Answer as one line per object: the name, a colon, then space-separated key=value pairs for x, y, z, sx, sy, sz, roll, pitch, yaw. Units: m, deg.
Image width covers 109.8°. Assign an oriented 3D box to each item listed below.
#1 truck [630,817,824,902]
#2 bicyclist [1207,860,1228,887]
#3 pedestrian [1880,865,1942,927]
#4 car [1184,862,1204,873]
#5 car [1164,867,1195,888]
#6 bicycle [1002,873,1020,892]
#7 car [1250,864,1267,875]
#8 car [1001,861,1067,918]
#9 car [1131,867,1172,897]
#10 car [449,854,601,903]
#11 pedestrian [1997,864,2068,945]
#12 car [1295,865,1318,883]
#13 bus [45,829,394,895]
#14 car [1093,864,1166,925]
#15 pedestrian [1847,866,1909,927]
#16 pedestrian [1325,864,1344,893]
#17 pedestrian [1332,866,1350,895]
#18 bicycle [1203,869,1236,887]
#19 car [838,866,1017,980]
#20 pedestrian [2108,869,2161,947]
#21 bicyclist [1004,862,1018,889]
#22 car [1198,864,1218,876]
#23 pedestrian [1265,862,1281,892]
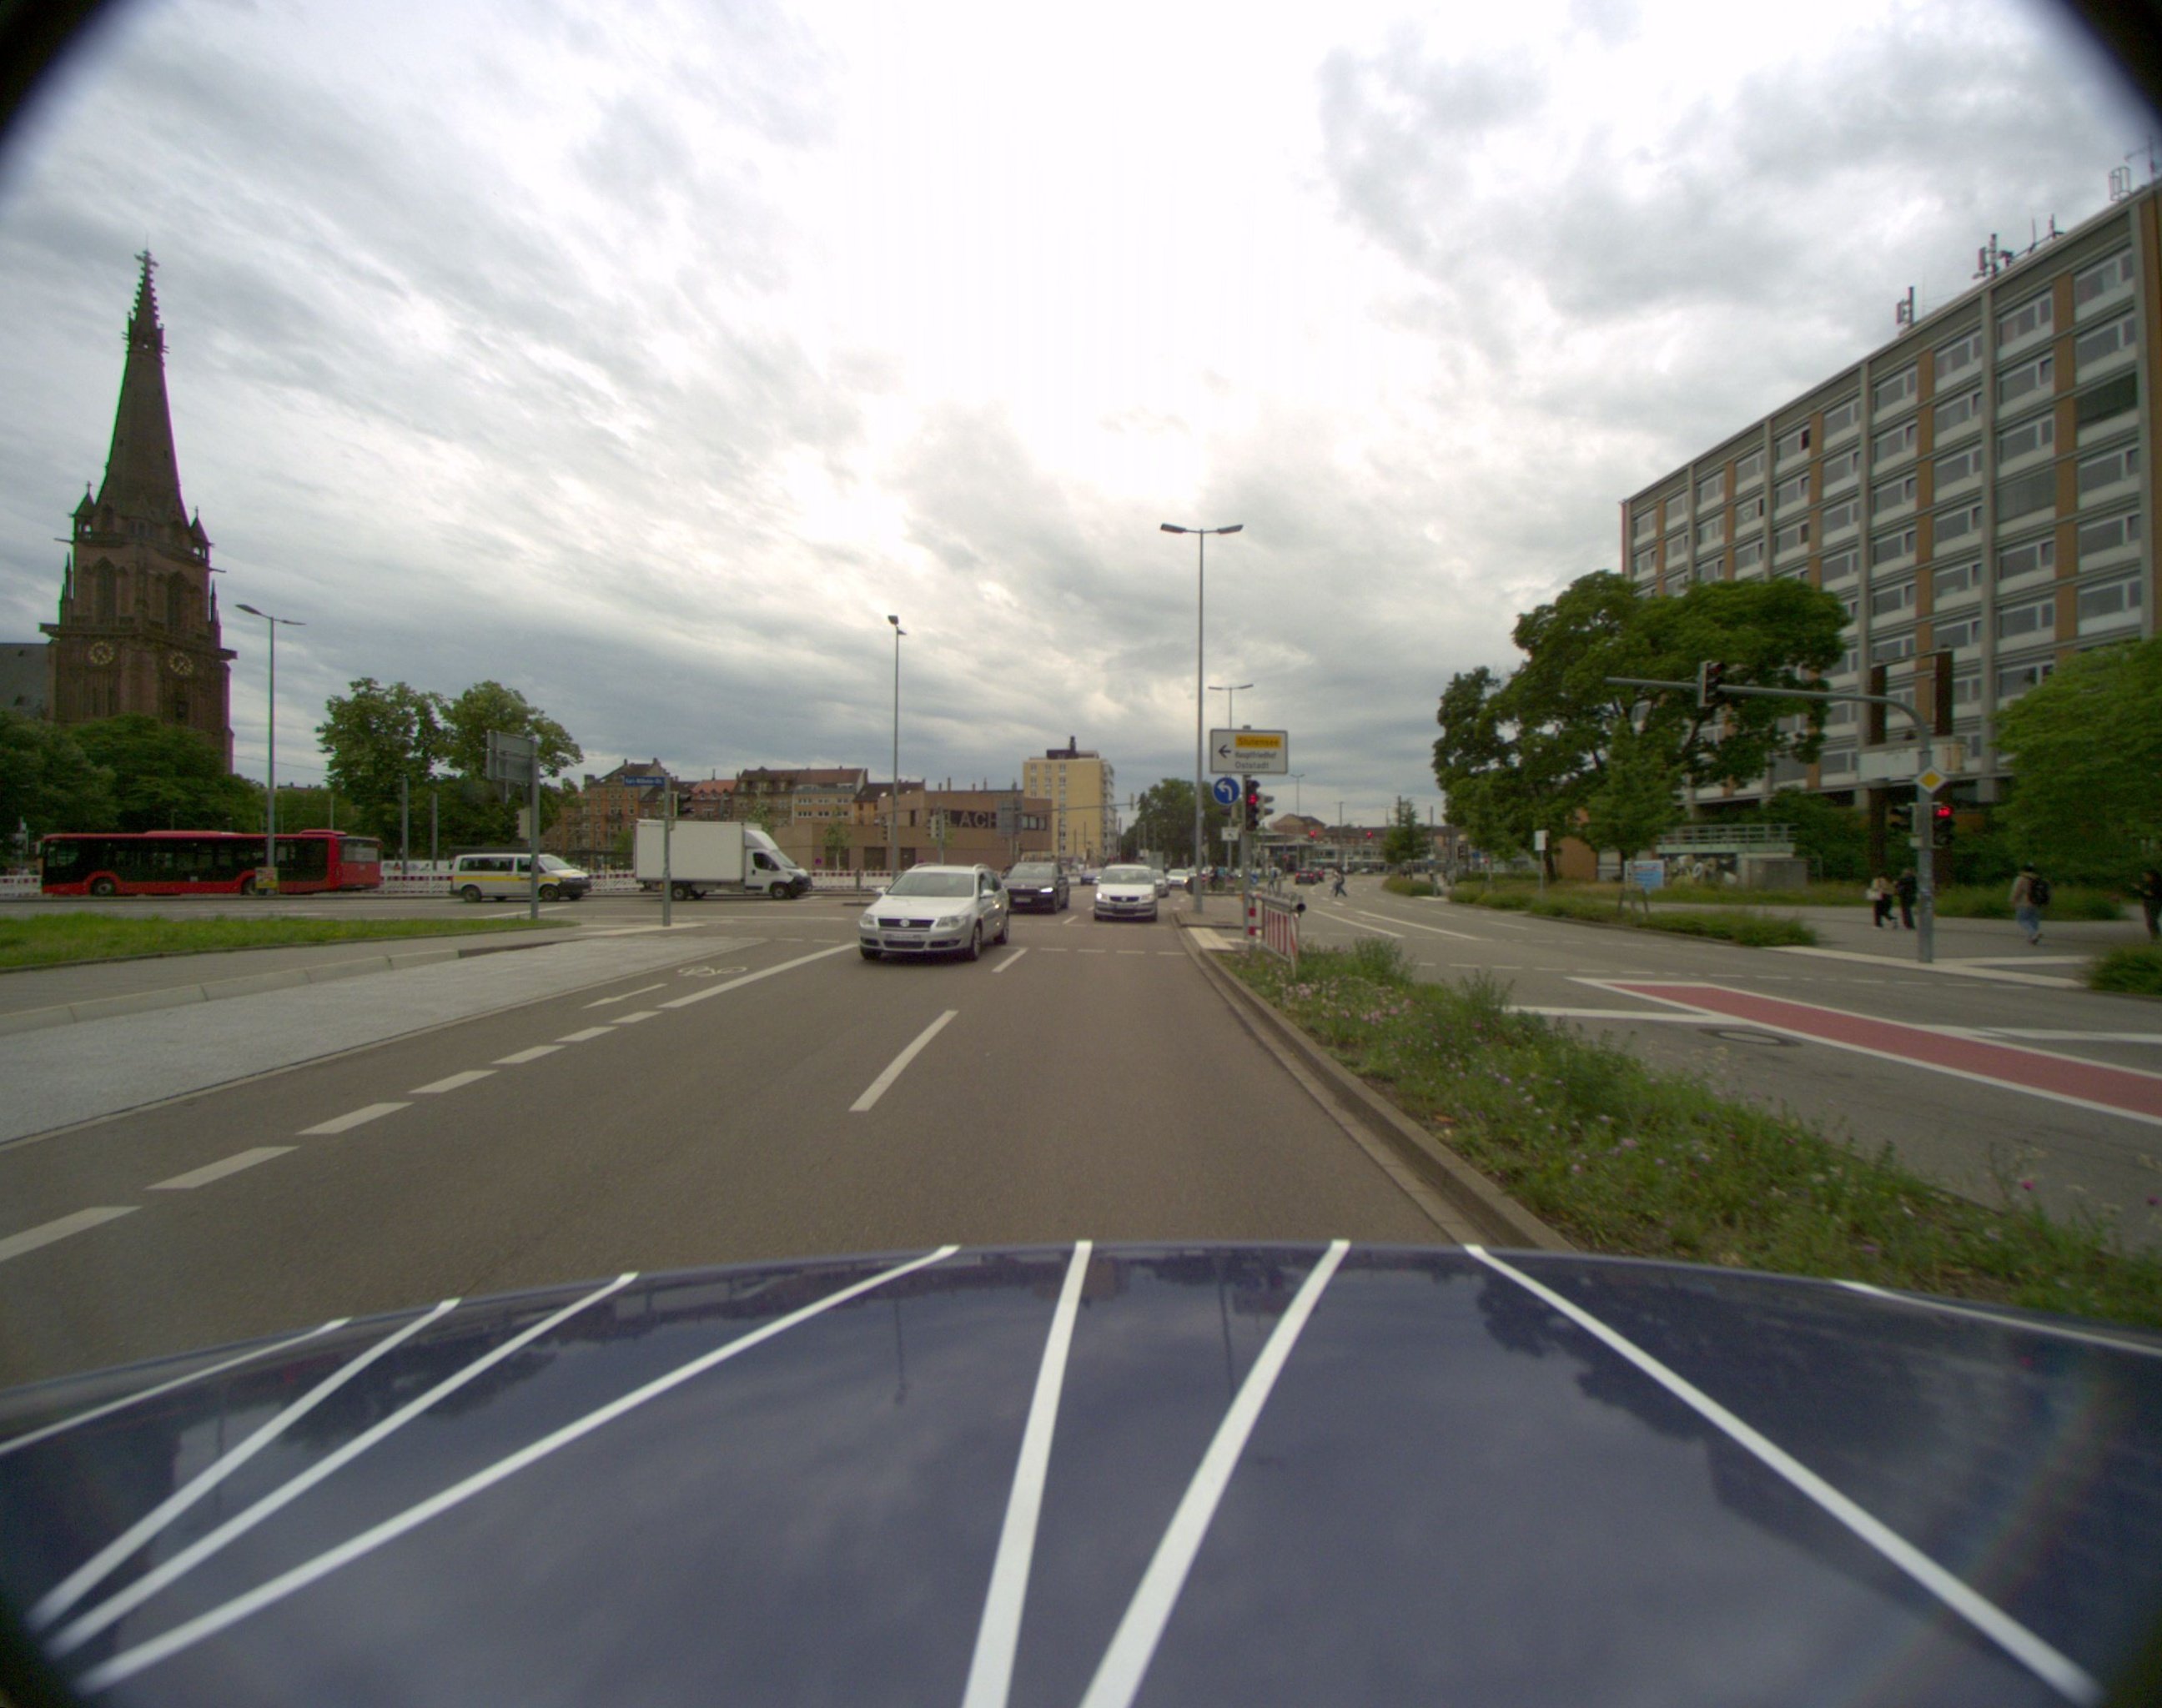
truck: x=-14.730 y=0.179 z=32.049 sx=6.853 sy=3.392 sz=2.559 roll=-1 pitch=2 yaw=-6
bicyclist: x=8.915 y=1.258 z=49.522 sx=1.191 sy=1.725 sz=0.807 roll=1 pitch=0 yaw=1
pedestrian: x=22.850 y=1.128 z=20.935 sx=0.708 sy=1.661 sz=0.890 roll=-1 pitch=0 yaw=3
car: x=17.131 y=2.080 z=115.311 sx=1.606 sy=1.586 sz=3.767 roll=1 pitch=-1 yaw=31
car: x=7.173 y=1.686 z=55.133 sx=1.784 sy=1.454 sz=3.875 roll=-1 pitch=0 yaw=14
bicycle: x=-4.326 y=1.772 z=46.957 sx=0.693 sy=1.123 sz=1.869 roll=2 pitch=-1 yaw=6
car: x=29.053 y=2.534 z=124.149 sx=1.606 sy=1.586 sz=3.767 roll=1 pitch=-1 yaw=31
car: x=-1.471 y=1.082 z=24.999 sx=1.912 sy=1.615 sz=4.490 roll=-1 pitch=0 yaw=-2
car: x=3.734 y=1.432 z=39.646 sx=1.725 sy=1.405 sz=4.249 roll=-1 pitch=-1 yaw=11
car: x=-22.798 y=0.967 z=31.300 sx=4.712 sy=1.908 sz=1.919 roll=0 pitch=1 yaw=-3
pedestrian: x=21.386 y=1.112 z=17.094 sx=0.638 sy=1.790 sz=0.762 roll=0 pitch=0 yaw=3
car: x=22.968 y=2.003 z=77.322 sx=1.812 sy=1.657 sz=3.955 roll=1 pitch=1 yaw=22
bus: x=-39.720 y=0.342 z=35.418 sx=12.092 sy=2.890 sz=2.937 roll=0 pitch=0 yaw=-4
car: x=1.337 y=1.110 z=22.406 sx=1.734 sy=1.593 sz=4.105 roll=-1 pitch=0 yaw=-2
pedestrian: x=22.035 y=1.161 z=21.025 sx=0.708 sy=1.661 sz=0.943 roll=0 pitch=0 yaw=3
pedestrian: x=16.070 y=1.540 z=48.165 sx=0.769 sy=1.794 sz=0.739 roll=2 pitch=0 yaw=-23
pedestrian: x=15.595 y=1.583 z=45.575 sx=0.778 sy=1.657 sz=0.706 roll=2 pitch=0 yaw=-9
bicycle: x=9.002 y=1.545 z=49.531 sx=2.005 sy=1.136 sz=0.807 roll=1 pitch=0 yaw=1
car: x=-2.352 y=0.995 z=12.918 sx=1.829 sy=1.541 sz=4.529 roll=0 pitch=0 yaw=4
pedestrian: x=22.820 y=1.138 z=16.264 sx=0.635 sy=1.603 sz=0.829 roll=-1 pitch=0 yaw=-22
bicyclist: x=-4.315 y=1.316 z=46.952 sx=0.693 sy=1.626 sz=0.885 roll=2 pitch=0 yaw=6
car: x=16.389 y=2.058 z=98.161 sx=1.816 sy=1.466 sz=4.039 roll=1 pitch=-1 yaw=20
pedestrian: x=11.574 y=1.378 z=45.810 sx=0.918 sy=1.794 sz=0.541 roll=1 pitch=0 yaw=15
